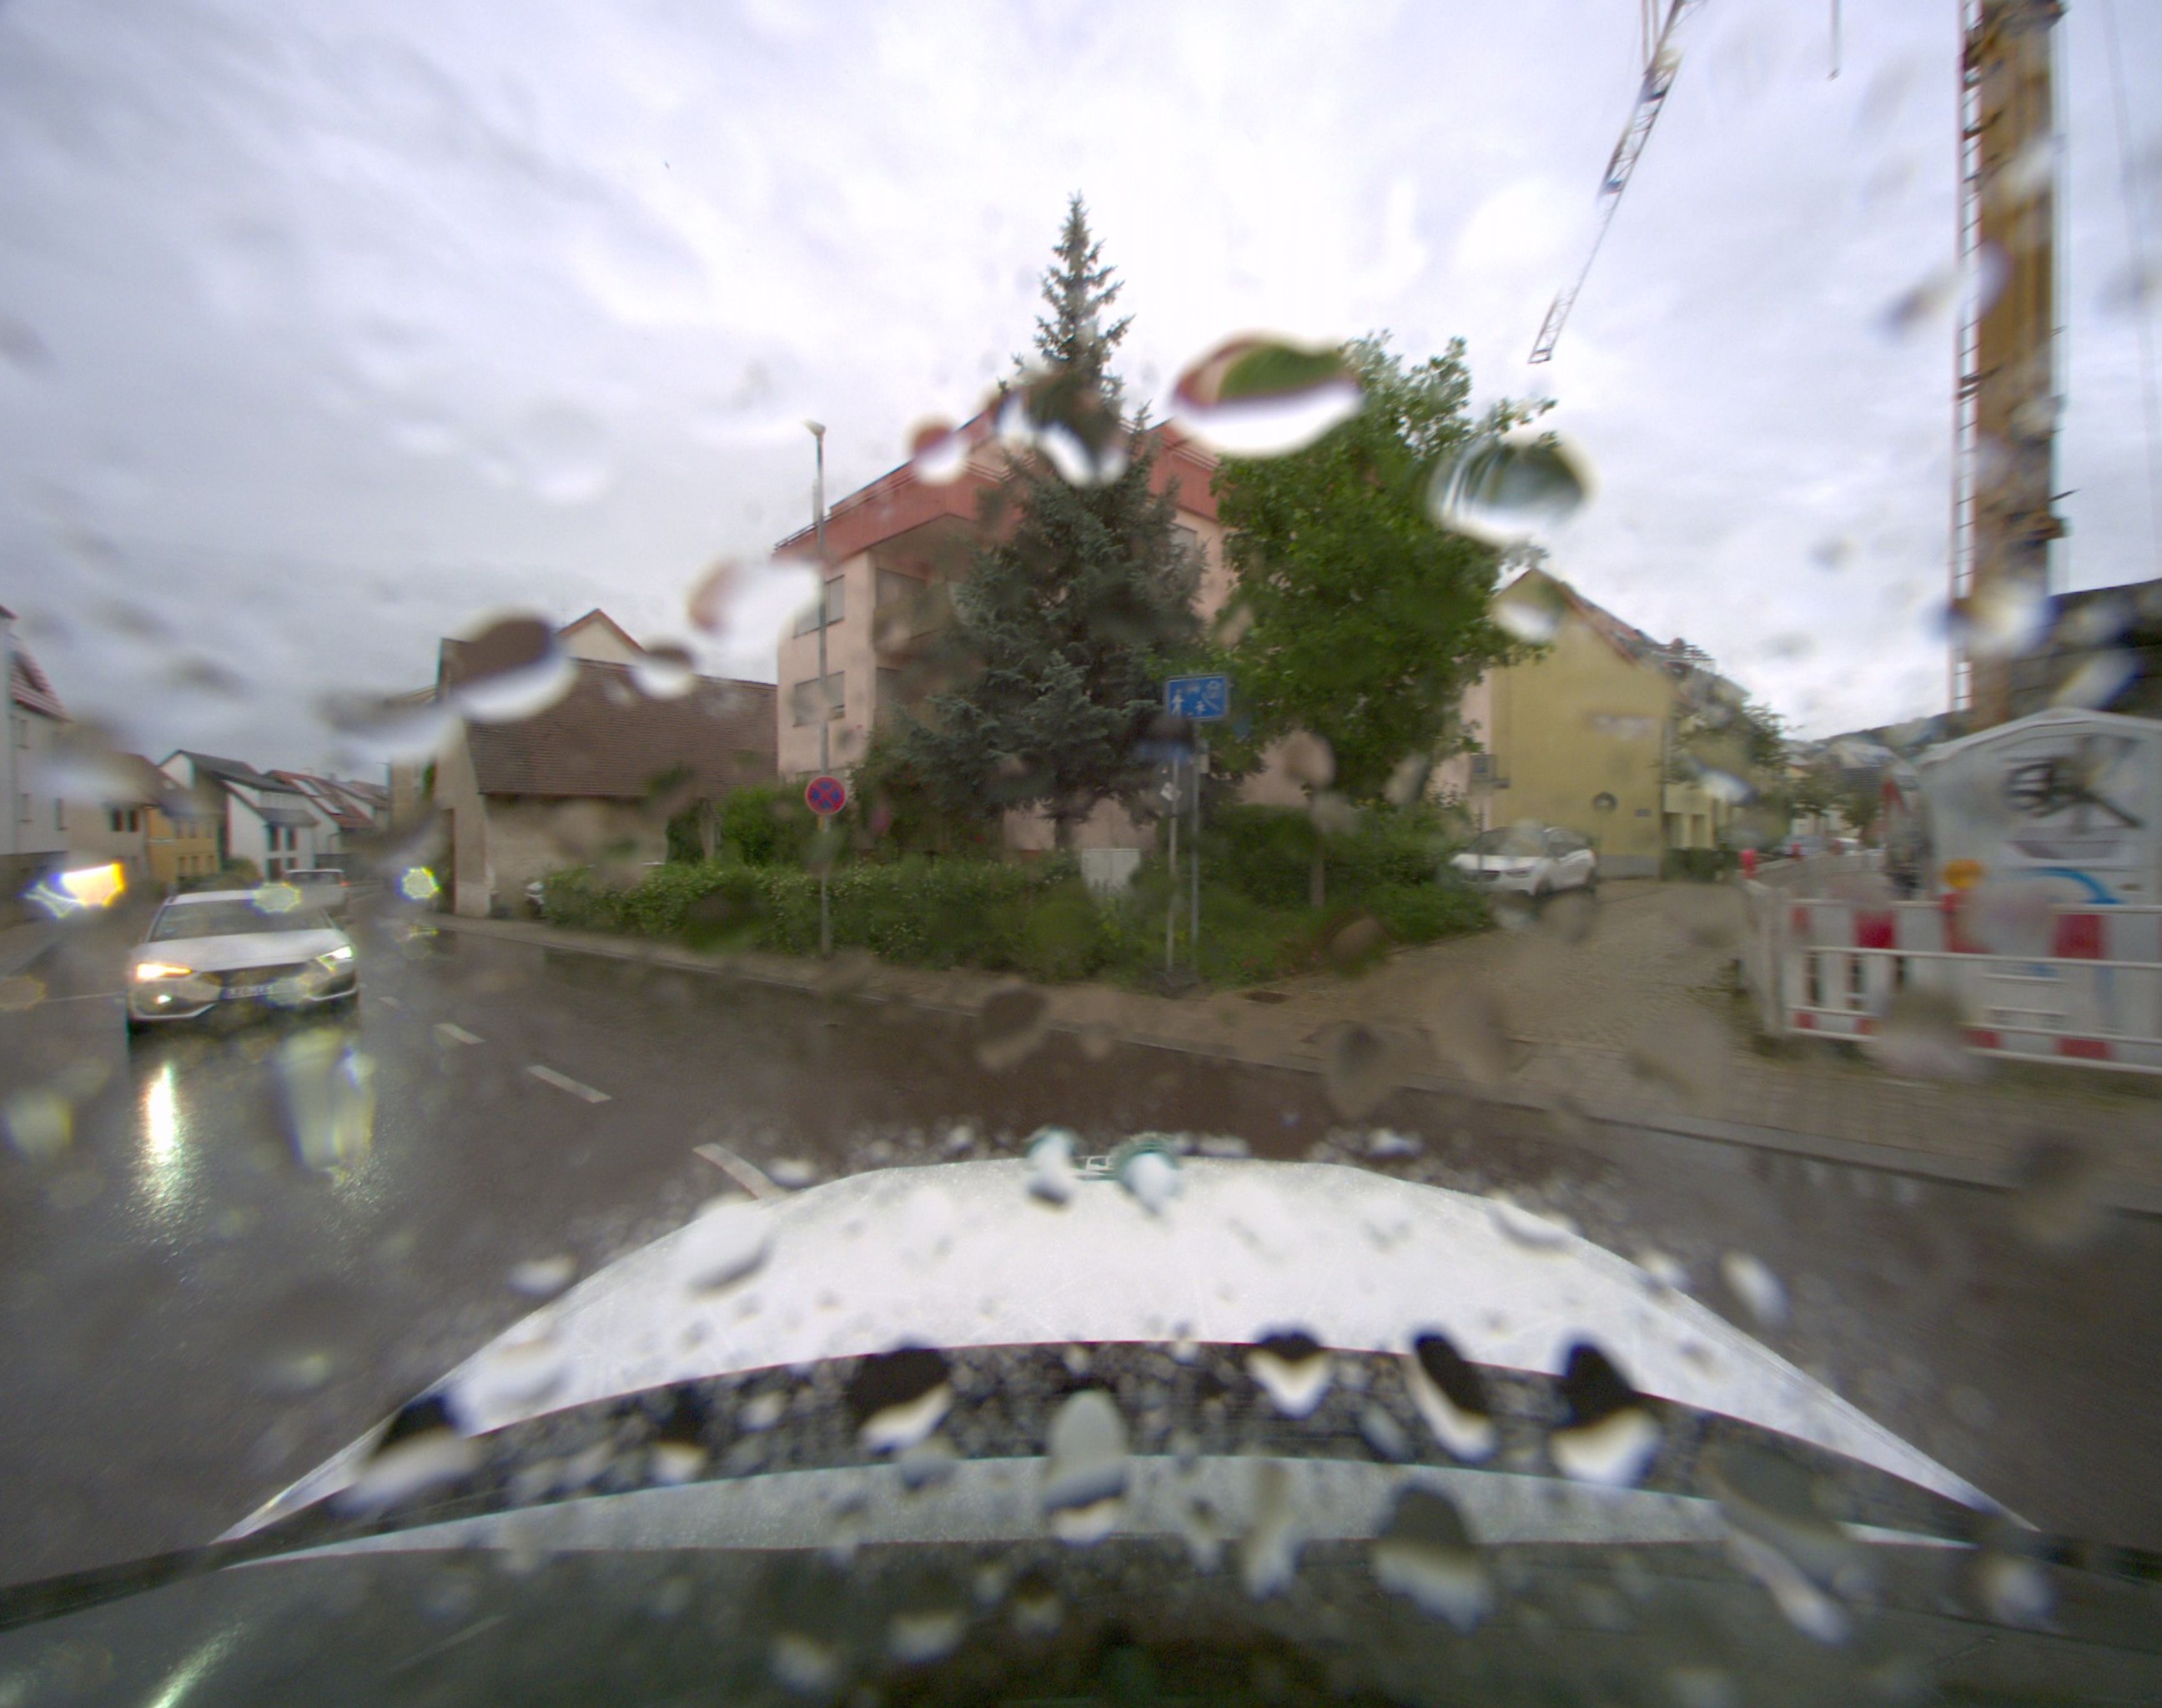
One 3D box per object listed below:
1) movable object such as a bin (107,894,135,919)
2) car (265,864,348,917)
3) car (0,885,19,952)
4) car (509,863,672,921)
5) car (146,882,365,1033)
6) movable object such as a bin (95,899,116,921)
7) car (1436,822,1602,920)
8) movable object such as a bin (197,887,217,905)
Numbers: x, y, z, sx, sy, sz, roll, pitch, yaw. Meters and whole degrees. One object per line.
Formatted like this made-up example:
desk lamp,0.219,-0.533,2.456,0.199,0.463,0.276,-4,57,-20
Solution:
movable object such as a bin,-42.785,2.354,36.299,0.687,1.066,0.686,1,-2,-41
car,-30.485,1.385,32.062,2.215,1.851,4.251,-2,0,-44
car,-29.353,1.713,19.813,1.855,1.670,4.024,-2,0,45
car,-16.120,1.191,26.934,1.879,1.649,4.257,-1,0,43
car,-10.351,1.142,10.130,4.155,1.409,1.602,-3,0,41
movable object such as a bin,-42.514,2.443,35.494,0.510,0.922,0.572,1,-2,-43
car,8.558,0.220,15.762,3.960,1.677,1.586,-2,2,-42
movable object such as a bin,-53.706,2.573,50.043,0.665,1.056,0.755,2,-2,-39
